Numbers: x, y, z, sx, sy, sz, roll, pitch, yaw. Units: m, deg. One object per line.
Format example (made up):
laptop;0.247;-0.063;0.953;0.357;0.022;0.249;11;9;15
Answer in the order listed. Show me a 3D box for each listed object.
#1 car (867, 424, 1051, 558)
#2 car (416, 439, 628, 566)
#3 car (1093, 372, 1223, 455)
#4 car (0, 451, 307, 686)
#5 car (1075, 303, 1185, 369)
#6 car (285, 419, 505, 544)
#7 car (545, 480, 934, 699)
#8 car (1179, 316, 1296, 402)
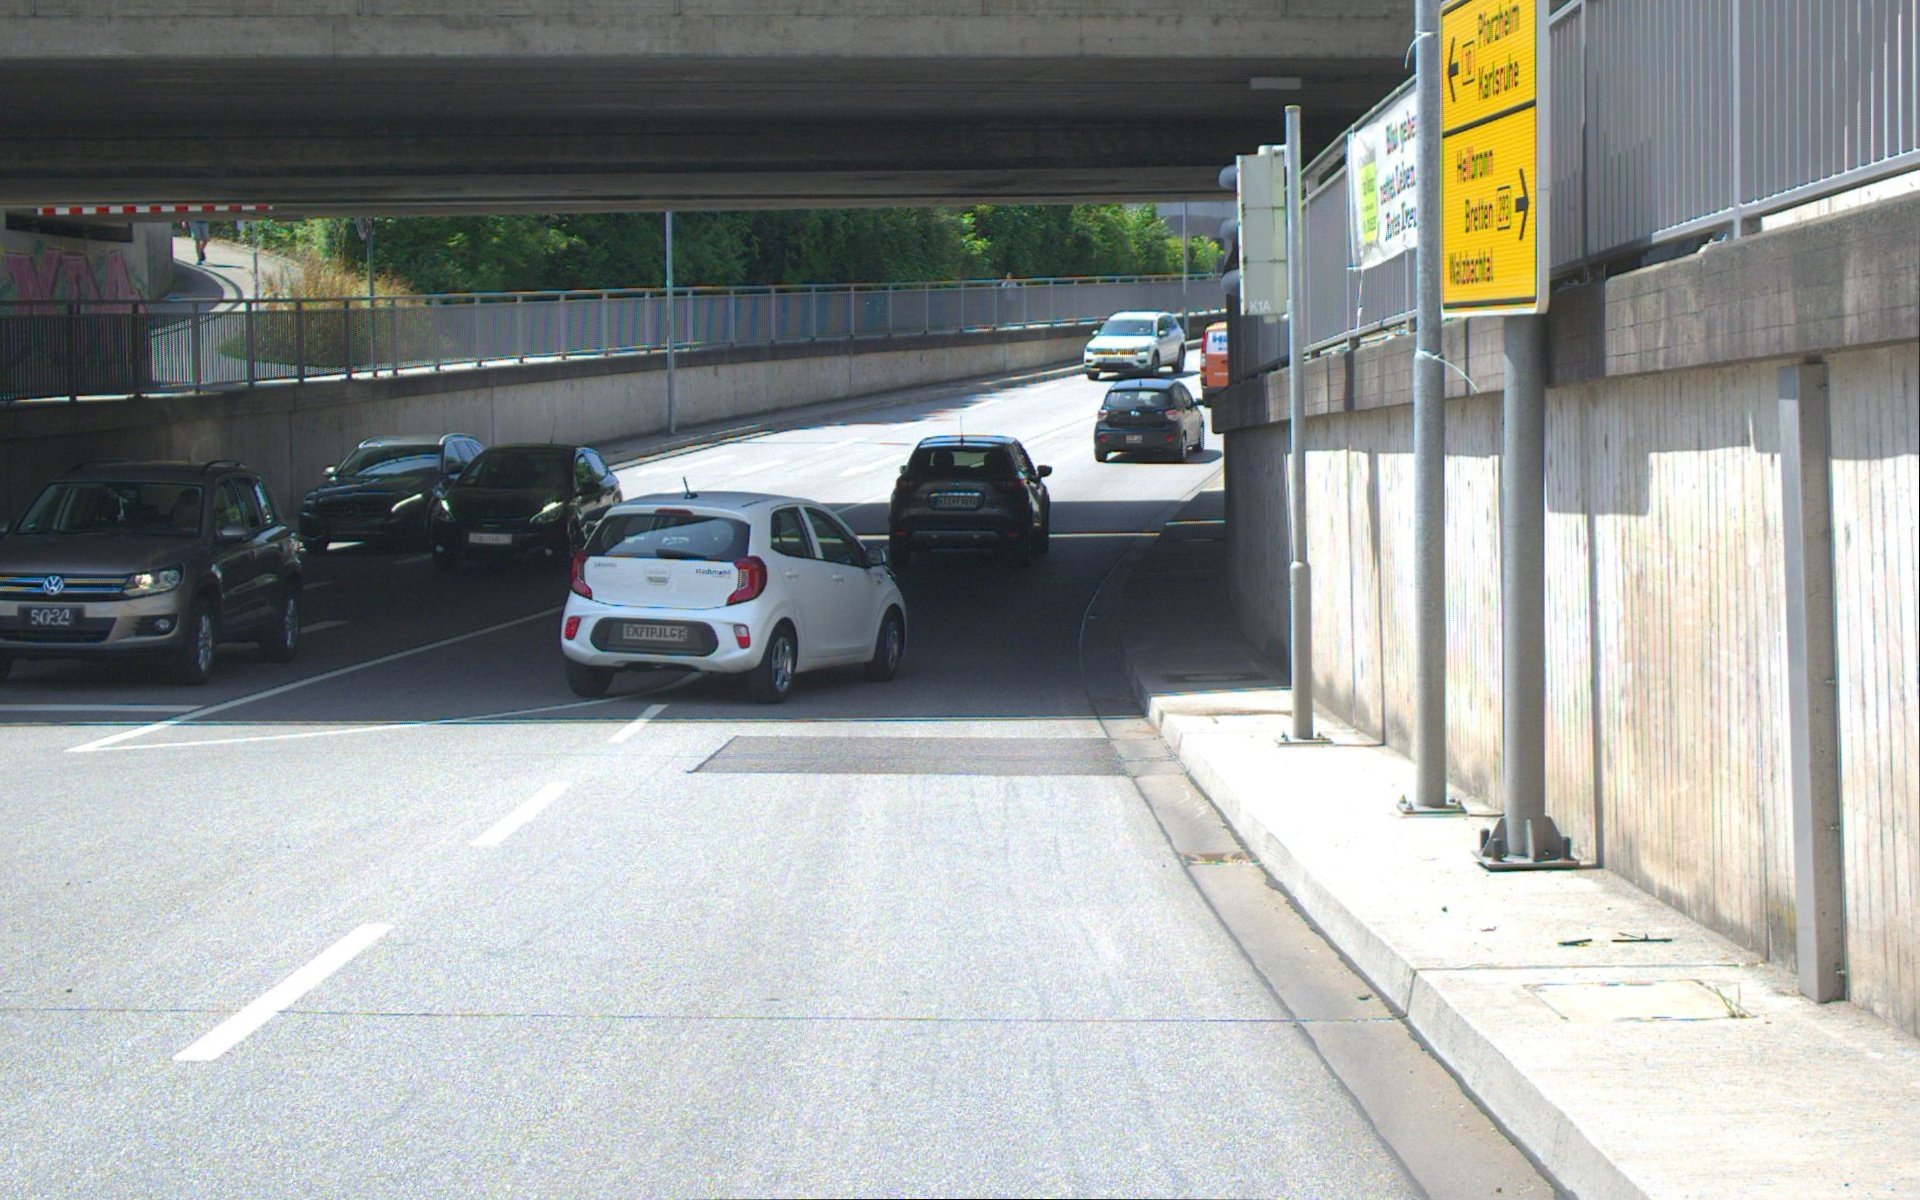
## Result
car;0.039;-1.423;43.586;1.994;1.583;4.000;0;3;5
car;-5.350;-1.244;42.438;1.782;1.431;4.000;0;3;5
car;3.755;-3.484;64.534;1.994;1.502;3.999;0;3;10
car;-6.540;-0.313;26.805;1.993;1.621;4.001;0;3;2
car;4.487;-6.952;90.307;1.995;1.583;3.998;2;6;17
car;-7.571;-1.634;46.416;1.994;1.583;4.000;0;3;5
car;-1.568;-0.148;25.989;1.726;1.415;3.998;1;4;15
car;6.420;-5.518;79.143;1.874;1.925;4.717;1;4;15
